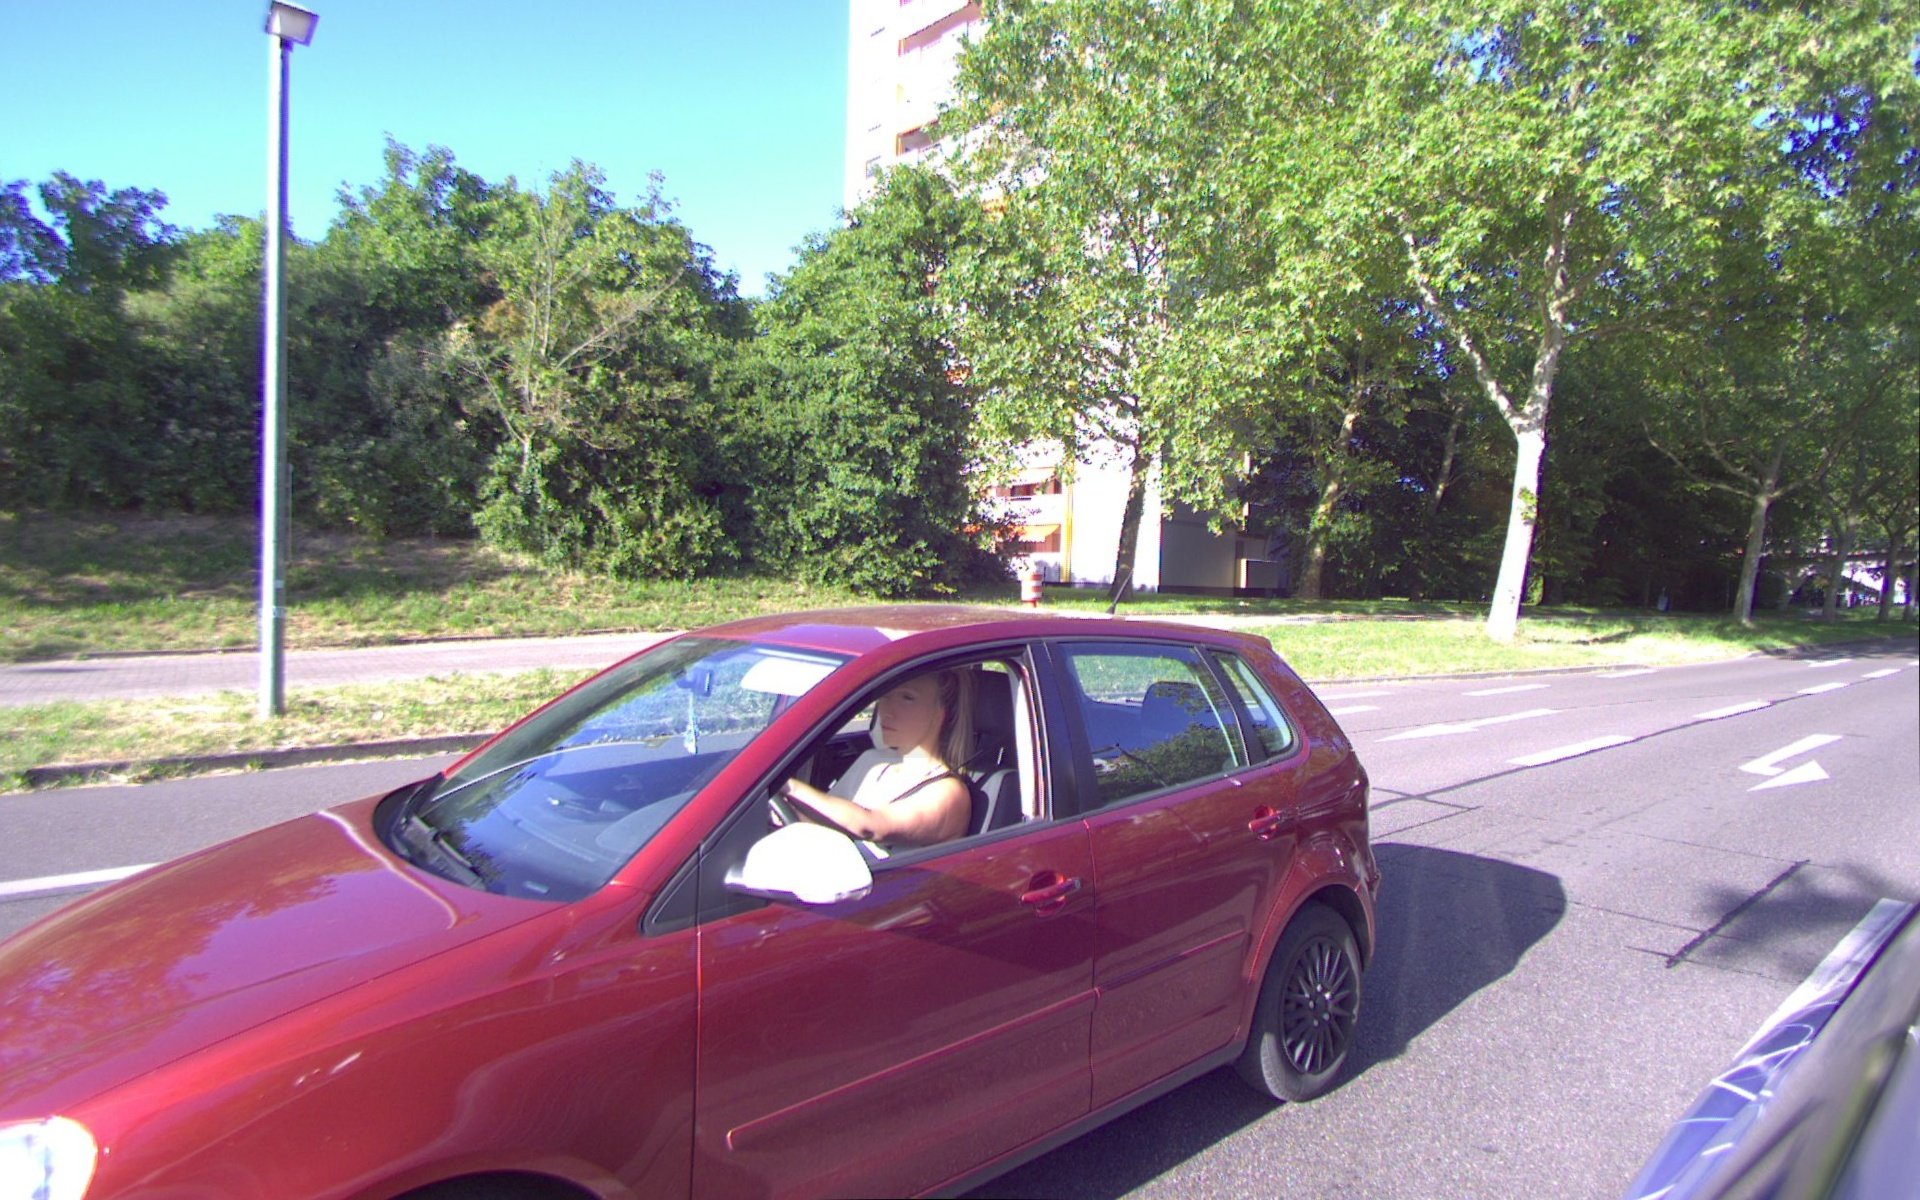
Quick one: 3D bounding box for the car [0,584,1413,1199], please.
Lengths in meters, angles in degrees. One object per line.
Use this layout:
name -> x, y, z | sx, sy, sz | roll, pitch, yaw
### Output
car -> -0.465, 0.695, 2.761 | 3.627, 1.434, 1.626 | 0, 1, -39
